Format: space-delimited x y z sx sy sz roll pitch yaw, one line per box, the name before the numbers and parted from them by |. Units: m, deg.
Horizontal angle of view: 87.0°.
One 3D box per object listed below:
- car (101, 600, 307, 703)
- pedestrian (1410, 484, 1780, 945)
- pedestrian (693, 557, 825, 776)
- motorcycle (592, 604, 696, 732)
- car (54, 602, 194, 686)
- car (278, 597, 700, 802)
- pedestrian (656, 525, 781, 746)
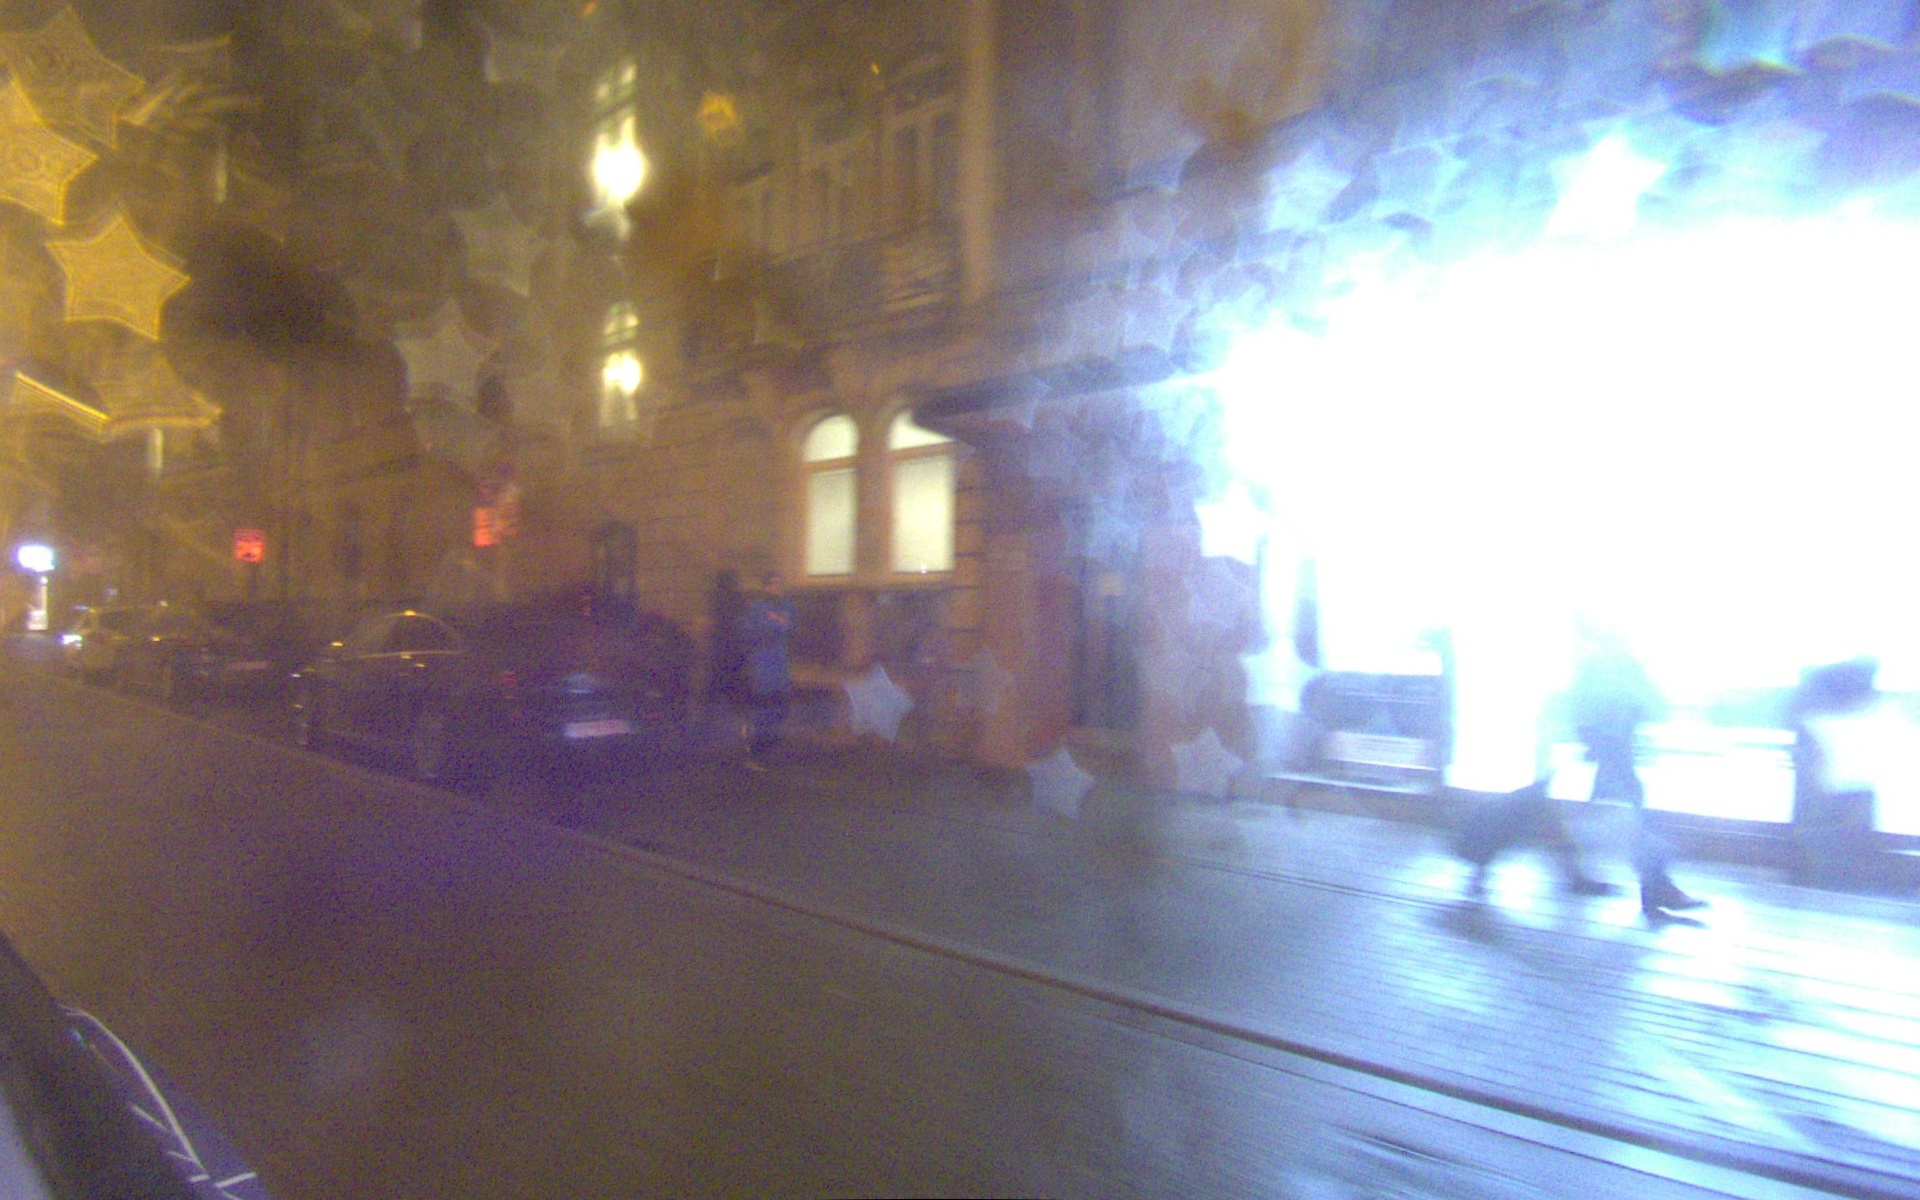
car | -12.547 0.772 16.712 4.154 1.489 1.699 0 -1 38
pedestrian | 3.086 0.478 4.952 1.414 1.877 0.946 -1 -2 40
pedestrian | -1.828 0.564 9.151 1.078 1.846 0.667 -1 0 43
motorcycle | -3.888 0.791 12.410 1.457 1.482 0.531 0 0 41
car | -16.614 0.802 20.061 3.786 1.489 1.697 -1 0 43
car | -4.721 0.749 9.711 5.029 1.489 1.827 0 -1 42
pedestrian | -2.638 0.374 11.035 1.115 2.258 0.791 -1 -2 40
